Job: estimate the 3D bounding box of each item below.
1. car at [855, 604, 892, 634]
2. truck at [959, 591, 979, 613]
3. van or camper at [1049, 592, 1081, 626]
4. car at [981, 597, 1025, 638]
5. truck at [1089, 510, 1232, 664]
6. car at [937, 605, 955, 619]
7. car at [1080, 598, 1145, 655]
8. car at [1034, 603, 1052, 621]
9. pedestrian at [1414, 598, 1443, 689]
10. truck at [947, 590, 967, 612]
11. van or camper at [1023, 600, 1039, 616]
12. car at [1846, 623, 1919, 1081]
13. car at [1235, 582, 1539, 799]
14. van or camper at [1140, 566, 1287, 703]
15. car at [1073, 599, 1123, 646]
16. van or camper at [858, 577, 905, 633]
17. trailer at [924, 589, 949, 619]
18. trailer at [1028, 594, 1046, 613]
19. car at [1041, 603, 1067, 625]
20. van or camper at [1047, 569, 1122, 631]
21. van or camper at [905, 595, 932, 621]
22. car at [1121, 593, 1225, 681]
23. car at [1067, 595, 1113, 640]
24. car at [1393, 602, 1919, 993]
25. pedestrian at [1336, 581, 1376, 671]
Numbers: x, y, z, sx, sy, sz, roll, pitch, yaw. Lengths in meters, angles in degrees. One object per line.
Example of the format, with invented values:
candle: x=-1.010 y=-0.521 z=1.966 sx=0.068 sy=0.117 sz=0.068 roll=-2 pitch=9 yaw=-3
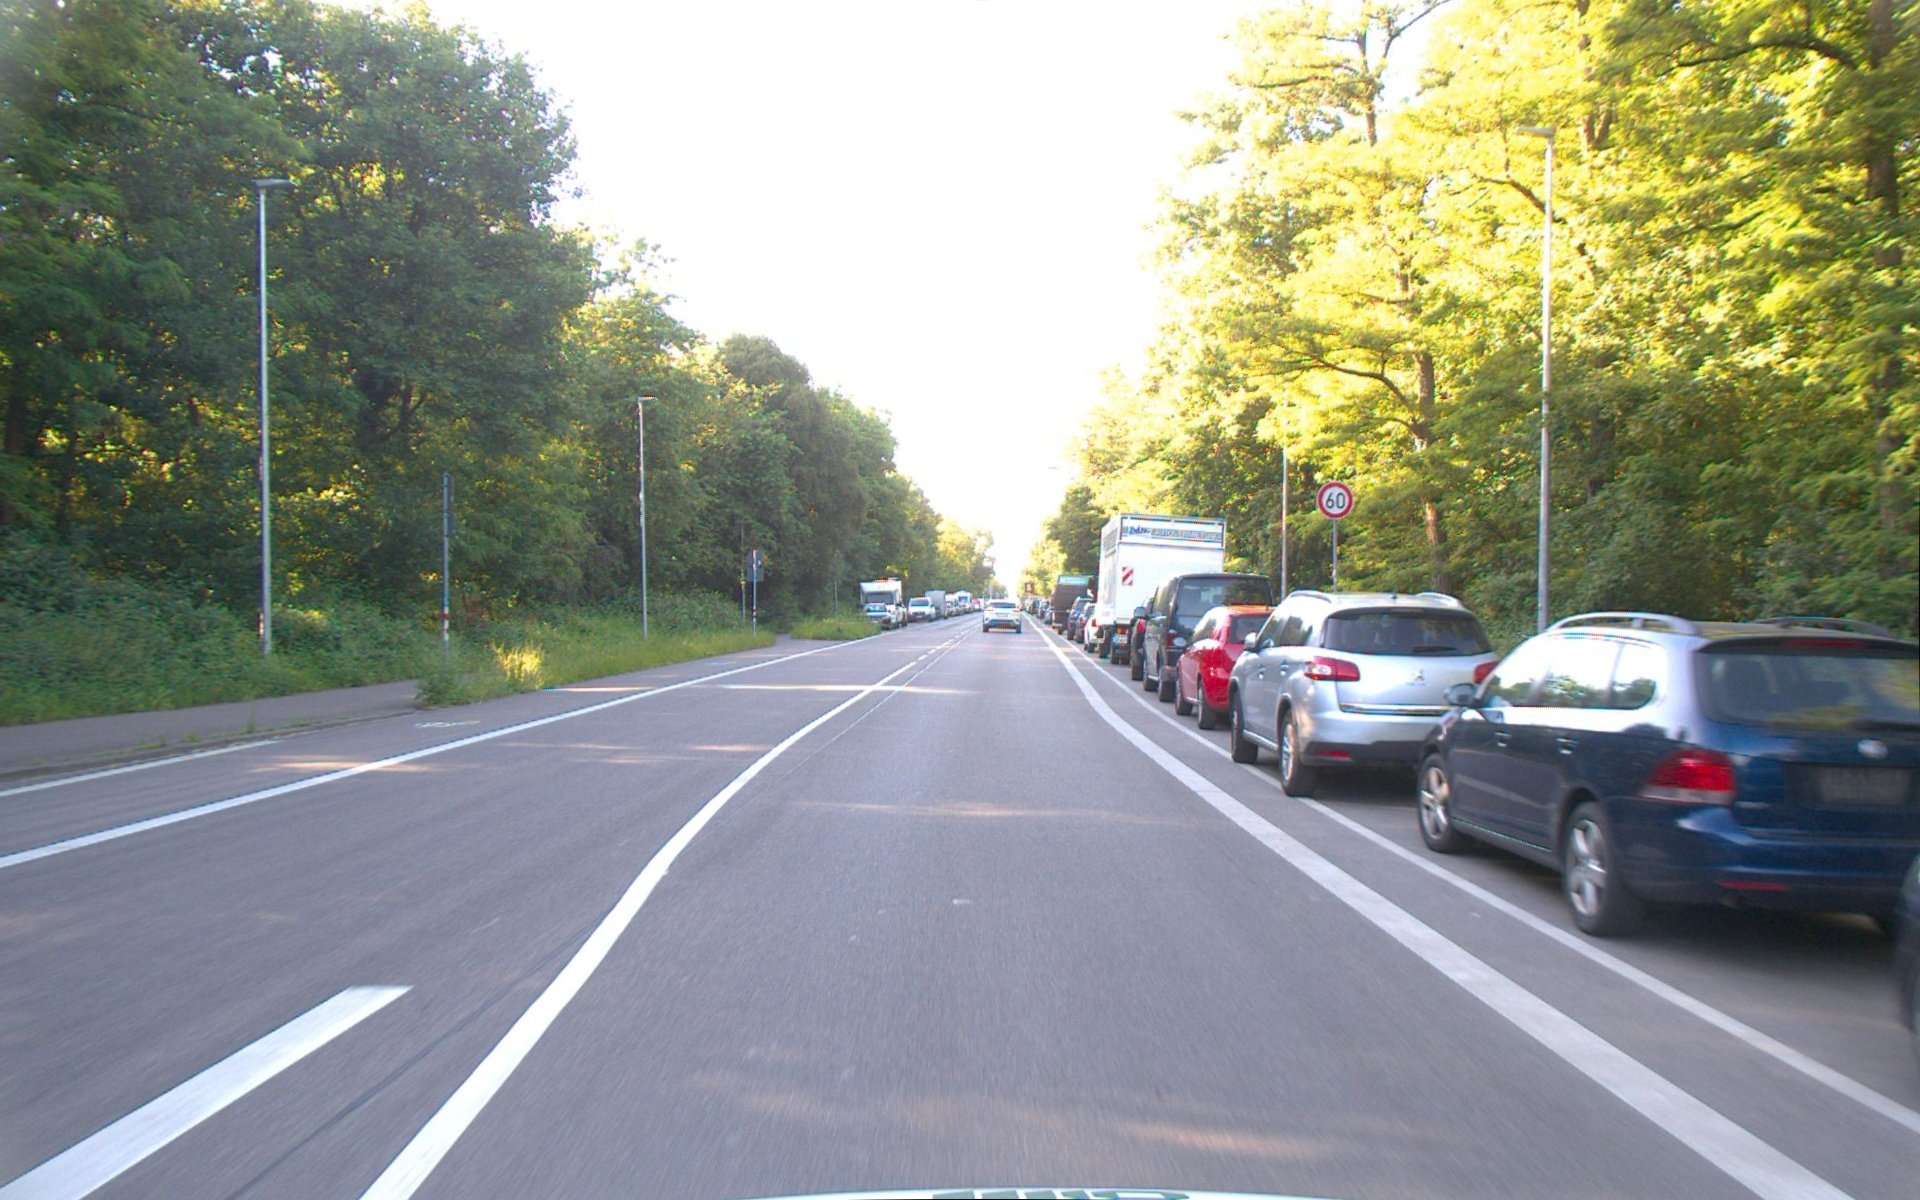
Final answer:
car: x=-4.586 y=0.991 z=88.248 sx=1.790 sy=1.501 sz=4.680 roll=-1 pitch=0 yaw=-1
truck: x=1.328 y=0.297 z=245.442 sx=2.651 sy=3.148 sz=7.991 roll=0 pitch=0 yaw=2
van or camper: x=7.345 y=0.616 z=116.314 sx=1.993 sy=2.352 sz=6.041 roll=-1 pitch=0 yaw=1
car: x=2.051 y=0.796 z=77.752 sx=1.986 sy=1.872 sz=4.030 roll=0 pitch=0 yaw=2
truck: x=4.949 y=-0.303 z=42.368 sx=2.774 sy=3.559 sz=8.579 roll=0 pitch=0 yaw=1
car: x=-1.525 y=1.303 z=178.819 sx=1.695 sy=1.504 sz=4.325 roll=-2 pitch=0 yaw=2
car: x=4.641 y=0.783 z=50.677 sx=1.676 sy=1.596 sz=4.001 roll=2 pitch=0 yaw=2
car: x=7.861 y=1.126 z=156.488 sx=1.655 sy=1.551 sz=4.150 roll=2 pitch=0 yaw=2
pedestrian: x=8.335 y=0.766 z=29.434 sx=0.386 sy=1.616 sz=0.482 roll=-1 pitch=0 yaw=1
truck: x=-0.371 y=0.179 z=257.107 sx=2.651 sy=3.406 sz=10.926 roll=0 pitch=0 yaw=2
van or camper: x=9.257 y=1.048 z=216.140 sx=1.952 sy=1.966 sz=5.200 roll=1 pitch=0 yaw=2
car: x=3.854 y=0.811 z=3.714 sx=1.562 sy=1.426 sz=3.797 roll=1 pitch=0 yaw=-2
car: x=3.537 y=0.677 z=14.422 sx=1.761 sy=1.623 sz=4.030 roll=0 pitch=0 yaw=2
van or camper: x=4.033 y=0.515 z=26.968 sx=1.858 sy=2.049 sz=4.588 roll=0 pitch=0 yaw=2
car: x=5.069 y=0.788 z=61.162 sx=1.676 sy=1.596 sz=4.553 roll=2 pitch=0 yaw=3
van or camper: x=-4.490 y=0.266 z=95.598 sx=2.267 sy=3.022 sz=7.110 roll=-2 pitch=0 yaw=0
trailer: x=-2.156 y=0.384 z=152.762 sx=1.952 sy=2.643 sz=4.417 roll=-2 pitch=0 yaw=2
trailer: x=12.090 y=0.505 z=260.834 sx=2.700 sy=2.920 sz=6.590 roll=0 pitch=0 yaw=2
car: x=7.004 y=0.998 z=123.306 sx=1.711 sy=1.542 sz=4.000 roll=-2 pitch=0 yaw=0
van or camper: x=6.065 y=0.011 z=79.579 sx=2.389 sy=2.849 sz=6.561 roll=-1 pitch=0 yaw=15
van or camper: x=-3.218 y=0.630 z=129.520 sx=1.797 sy=1.945 sz=4.856 roll=-1 pitch=0 yaw=1
car: x=4.277 y=0.706 z=33.724 sx=1.761 sy=1.686 sz=4.030 roll=0 pitch=0 yaw=2
car: x=5.213 y=0.679 z=66.781 sx=1.676 sy=1.694 sz=4.553 roll=2 pitch=0 yaw=3
car: x=3.865 y=0.823 z=8.988 sx=1.770 sy=1.545 sz=4.503 roll=2 pitch=0 yaw=-1
pedestrian: x=8.099 y=0.524 z=33.823 sx=0.605 sy=1.795 sz=0.907 roll=-1 pitch=0 yaw=1
